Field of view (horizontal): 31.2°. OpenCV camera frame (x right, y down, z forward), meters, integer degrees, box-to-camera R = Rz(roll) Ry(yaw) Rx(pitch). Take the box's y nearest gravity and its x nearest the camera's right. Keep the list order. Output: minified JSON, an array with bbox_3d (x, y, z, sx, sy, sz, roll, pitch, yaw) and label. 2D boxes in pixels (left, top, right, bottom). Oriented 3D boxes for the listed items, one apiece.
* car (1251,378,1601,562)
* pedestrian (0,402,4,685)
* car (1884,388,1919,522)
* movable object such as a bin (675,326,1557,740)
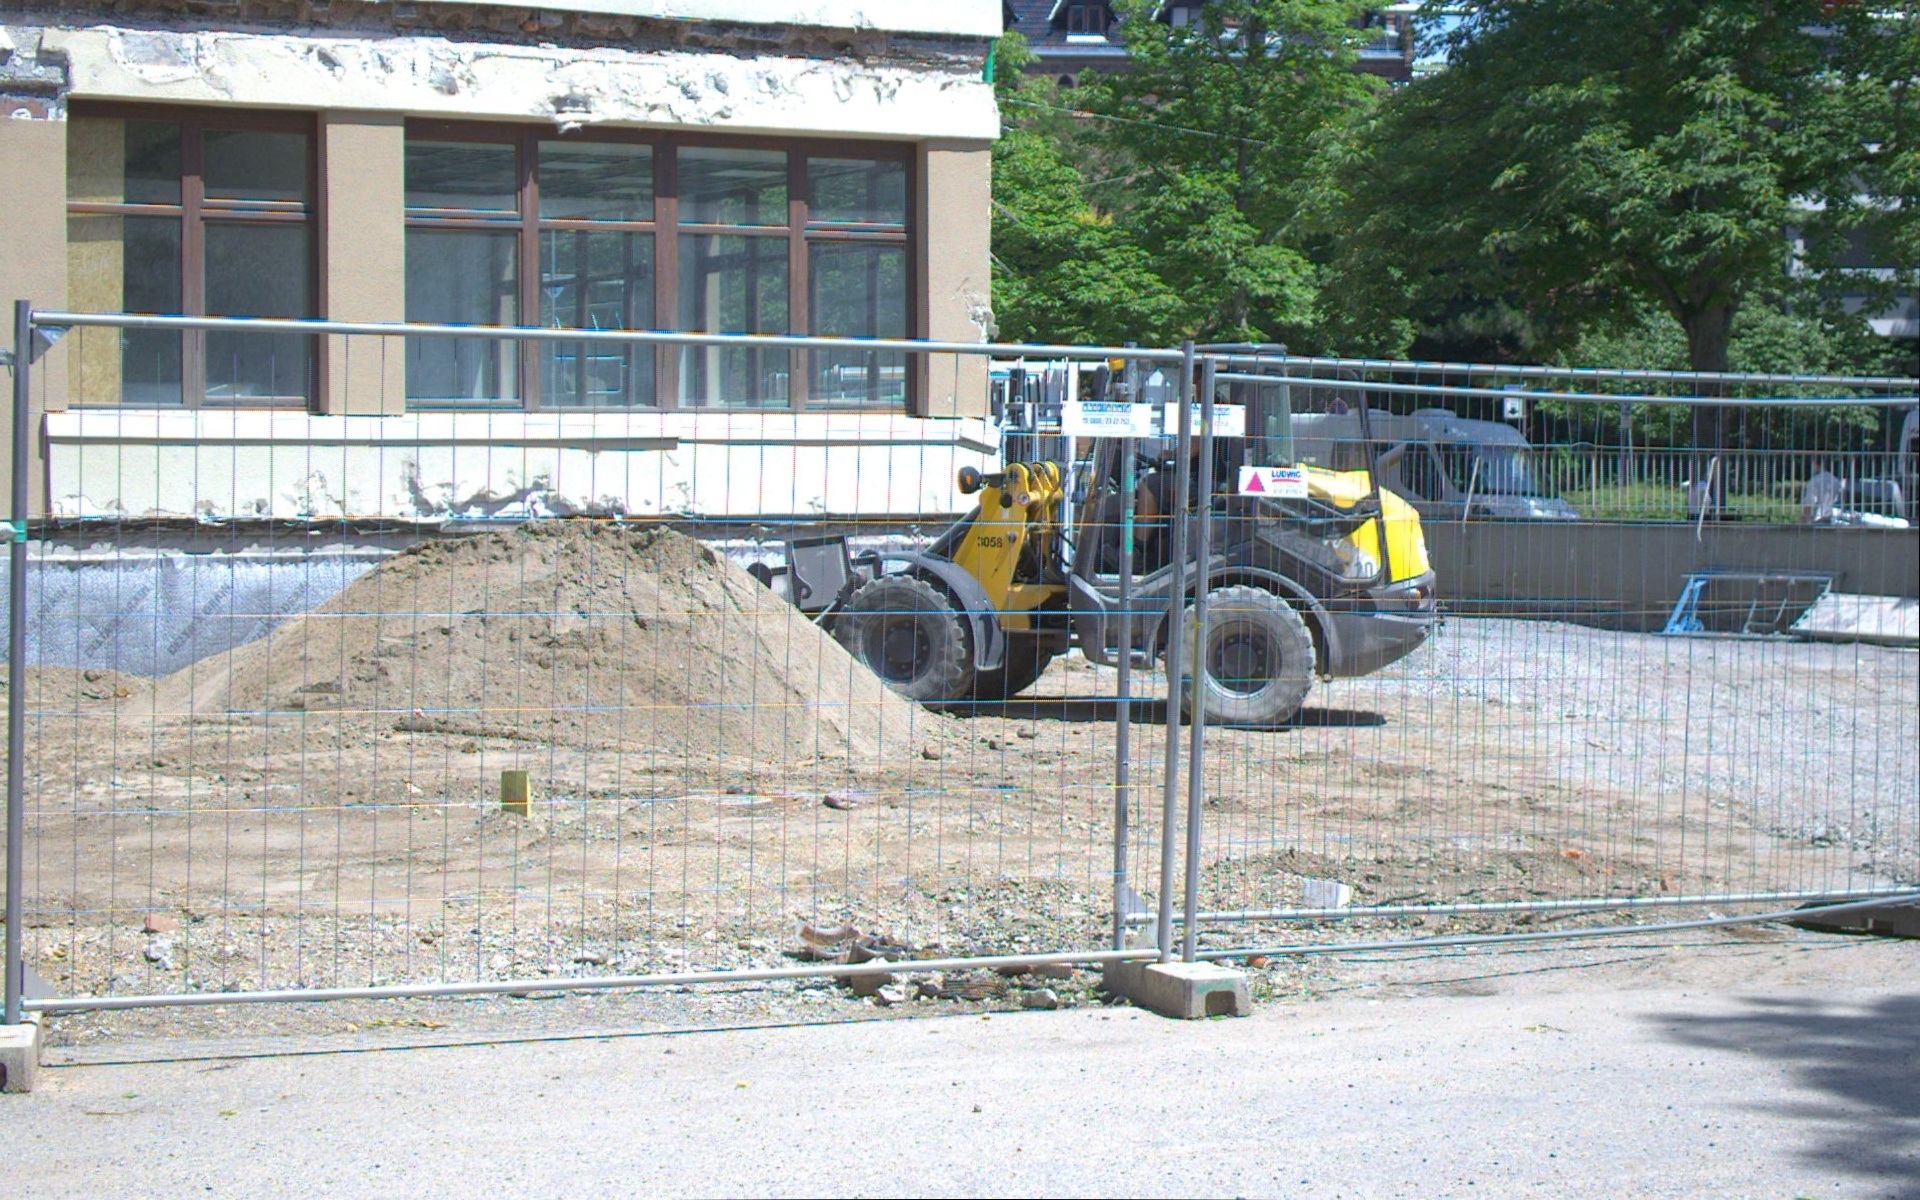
[{"bbox_3d":[6.373,-1.794,47.686,1.993,2.408,5.244,-1,2,-30],"label":"car"},{"bbox_3d":[-6.904,-0.368,22.526,0.983,1.840,0.917,-1,2,-34],"label":"pedestrian"},{"bbox_3d":[17.435,-2.508,59.842,2.186,2.250,4.864,1,2,20],"label":"car"},{"bbox_3d":[1.074,-0.515,22.996,5.408,2.455,2.366,2,3,18],"label":"movable object such as a bin"}]
